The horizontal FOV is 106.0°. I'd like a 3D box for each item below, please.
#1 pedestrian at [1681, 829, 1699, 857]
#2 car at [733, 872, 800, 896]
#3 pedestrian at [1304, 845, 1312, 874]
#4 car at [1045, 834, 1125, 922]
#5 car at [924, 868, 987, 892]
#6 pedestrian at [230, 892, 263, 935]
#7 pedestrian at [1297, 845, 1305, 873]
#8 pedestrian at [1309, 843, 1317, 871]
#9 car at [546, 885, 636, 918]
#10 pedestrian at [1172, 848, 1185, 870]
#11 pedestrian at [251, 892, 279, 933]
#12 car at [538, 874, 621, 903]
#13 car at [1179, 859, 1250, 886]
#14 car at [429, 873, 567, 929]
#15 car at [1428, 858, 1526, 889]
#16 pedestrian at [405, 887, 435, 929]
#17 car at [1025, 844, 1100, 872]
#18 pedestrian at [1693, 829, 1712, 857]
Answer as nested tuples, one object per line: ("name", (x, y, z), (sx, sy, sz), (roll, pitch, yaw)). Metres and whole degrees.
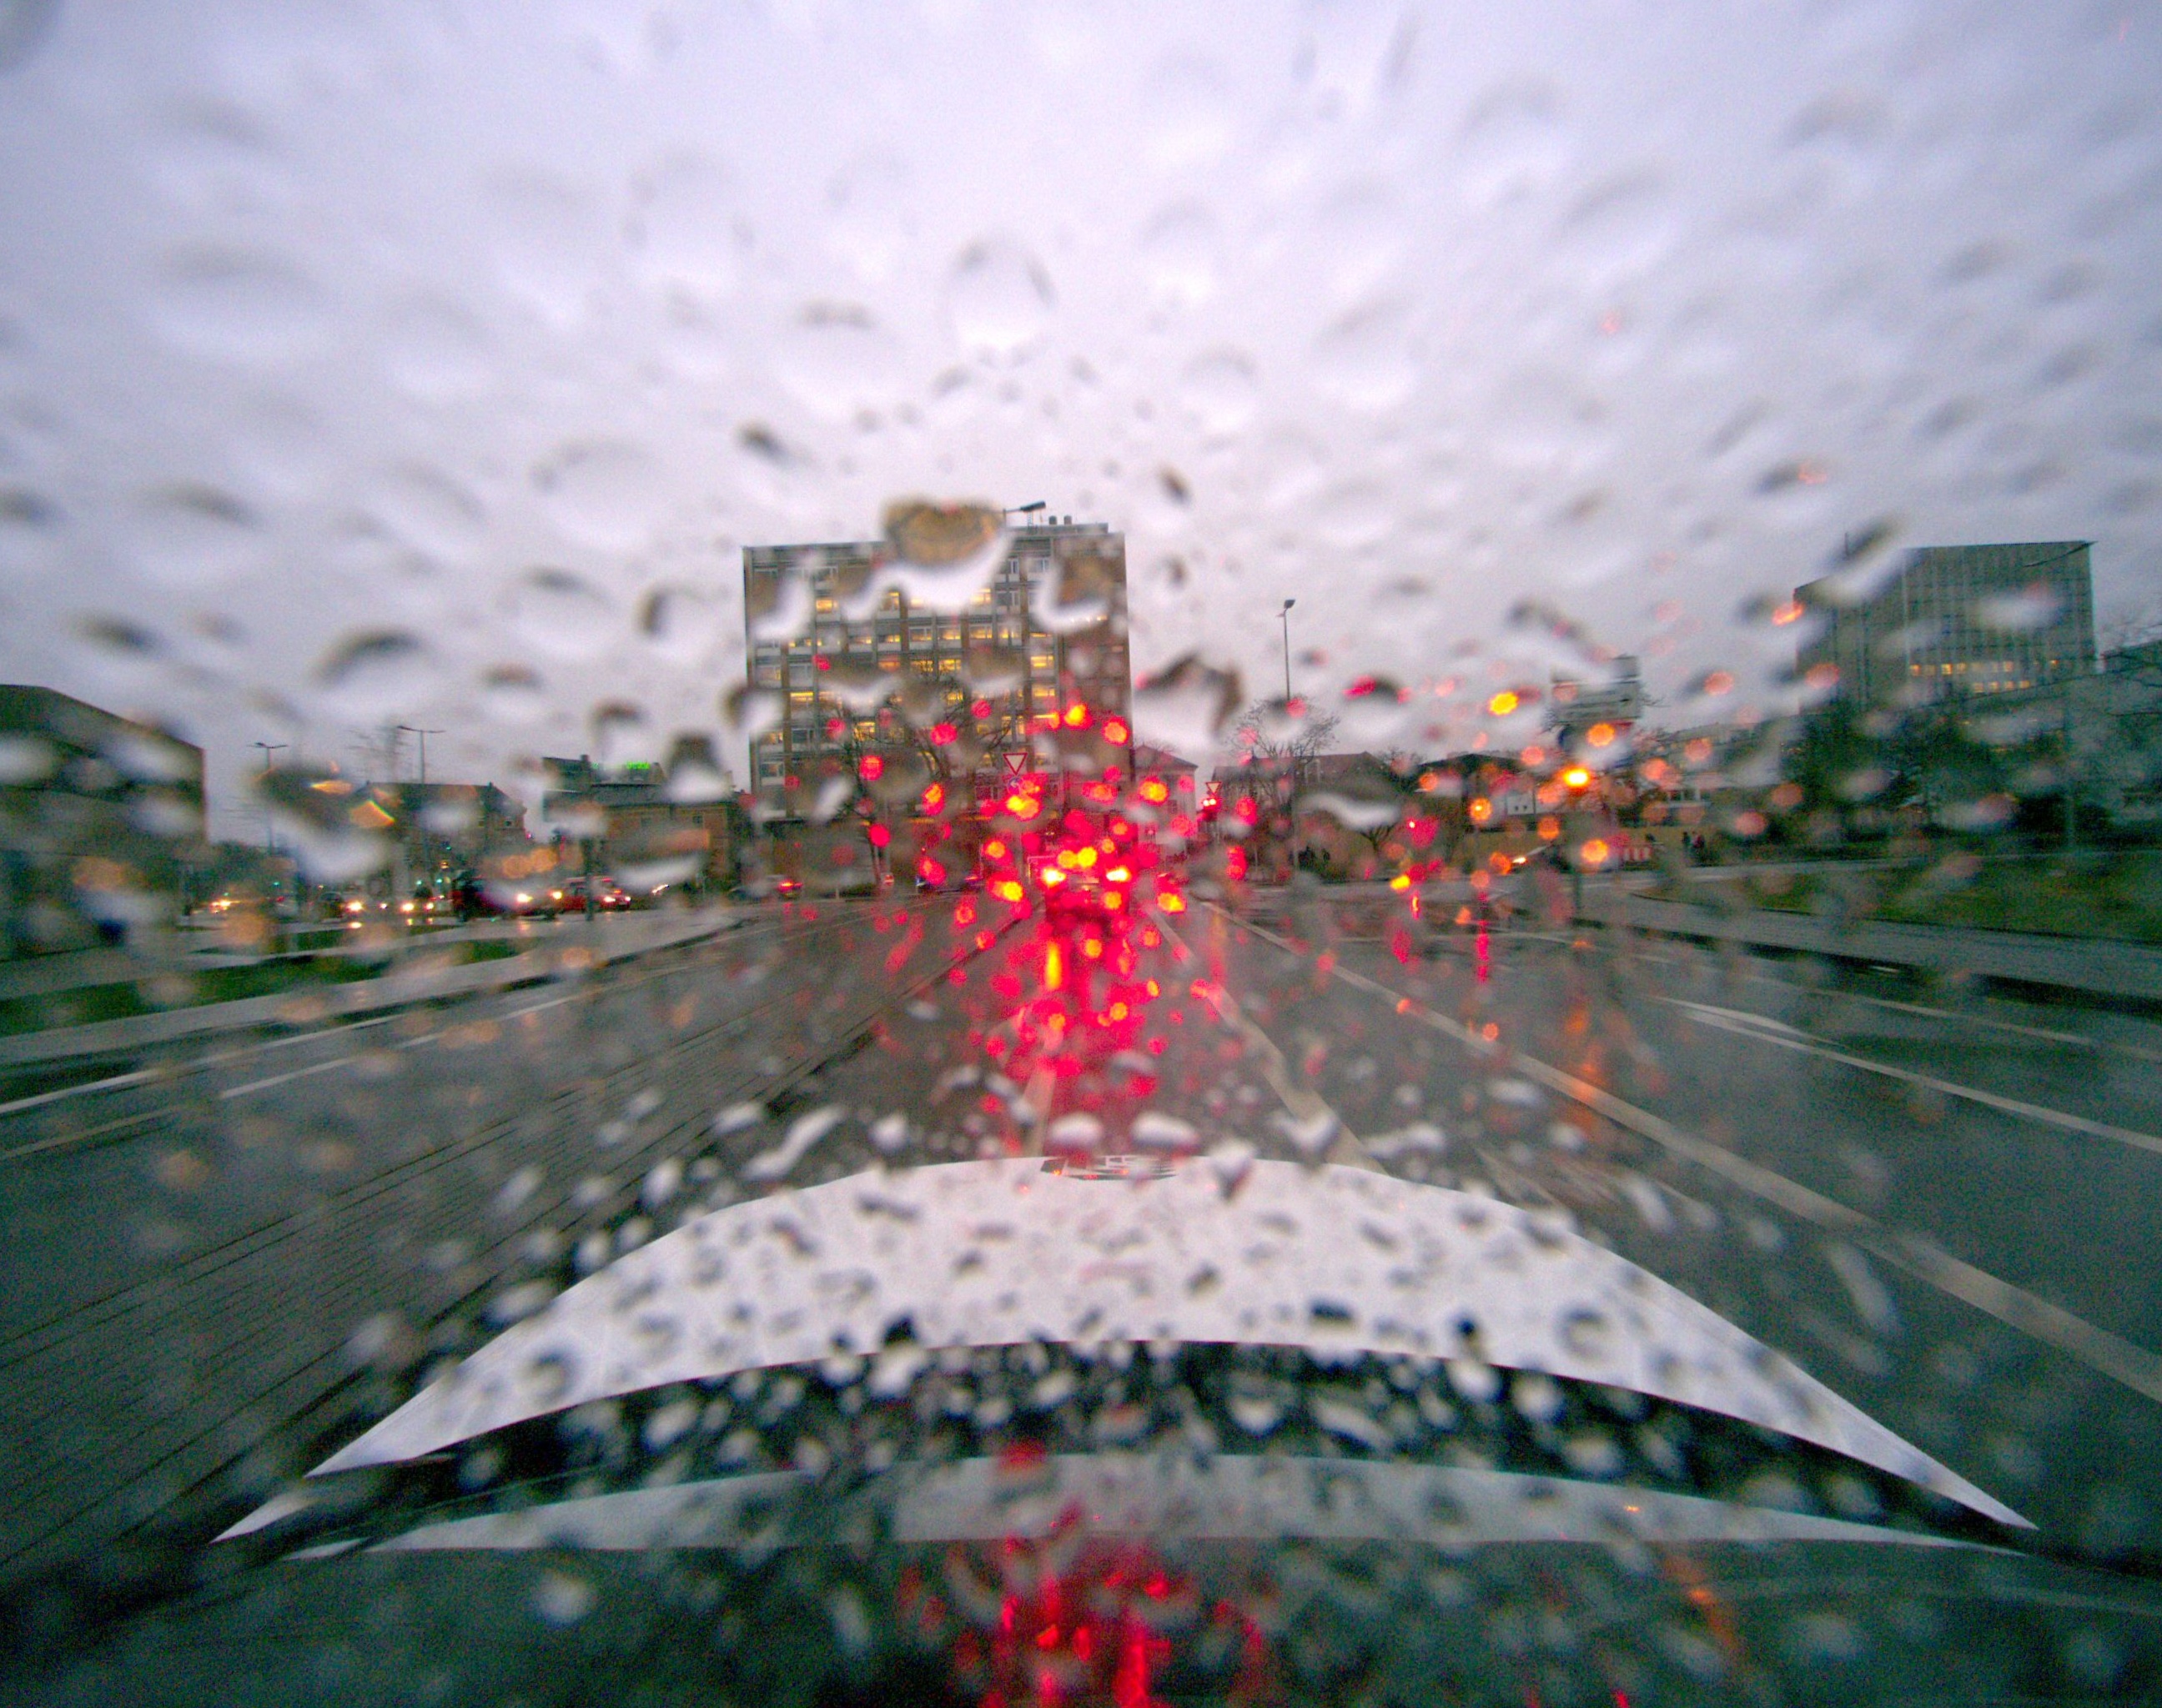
("pedestrian", (38.750, -0.695, 51.825), (0.620, 1.725, 0.762), (-1, -2, 8))
("car", (-20.144, 1.939, 52.190), (3.885, 1.486, 1.475), (-1, -2, 16))
("pedestrian", (14.775, 0.367, 53.015), (0.454, 1.839, 0.441), (-2, -2, 19))
("car", (0.146, 0.502, 19.078), (1.641, 1.819, 4.001), (-1, 0, 1))
("car", (-7.553, 1.565, 48.917), (3.384, 1.398, 1.476), (-1, -1, 16))
("pedestrian", (-35.523, 2.519, 34.671), (0.687, 1.815, 0.683), (-1, -2, 15))
("pedestrian", (14.598, 0.318, 54.067), (0.434, 1.839, 0.462), (-2, -2, 19))
("pedestrian", (15.363, 0.175, 53.971), (0.434, 1.839, 0.462), (-2, -2, 20))
("car", (-26.191, 2.539, 43.577), (4.041, 1.684, 1.766), (-1, -2, 14))
("pedestrian", (7.487, 0.399, 62.532), (0.689, 1.661, 0.670), (1, -3, -34))
("pedestrian", (-35.354, 2.534, 35.292), (0.605, 1.772, 0.587), (-1, -2, 15))
("car", (-35.063, 2.428, 56.975), (5.114, 1.913, 2.008), (-1, -1, 17))
("car", (7.460, 1.051, 45.308), (3.763, 1.398, 1.570), (-1, -2, 13))
("car", (-25.057, 1.987, 35.038), (4.981, 2.282, 2.268), (-1, -2, 18))
("car", (21.131, 1.052, 43.680), (4.401, 1.580, 1.975), (-1, -2, 14))
("pedestrian", (-27.338, 2.225, 33.684), (0.456, 1.697, 0.801), (-2, -2, 25))
("car", (-1.415, 0.329, 63.344), (5.517, 2.024, 2.004), (-1, -2, 7))
("pedestrian", (38.634, -0.663, 50.641), (0.620, 1.725, 0.762), (-1, -2, 8))
